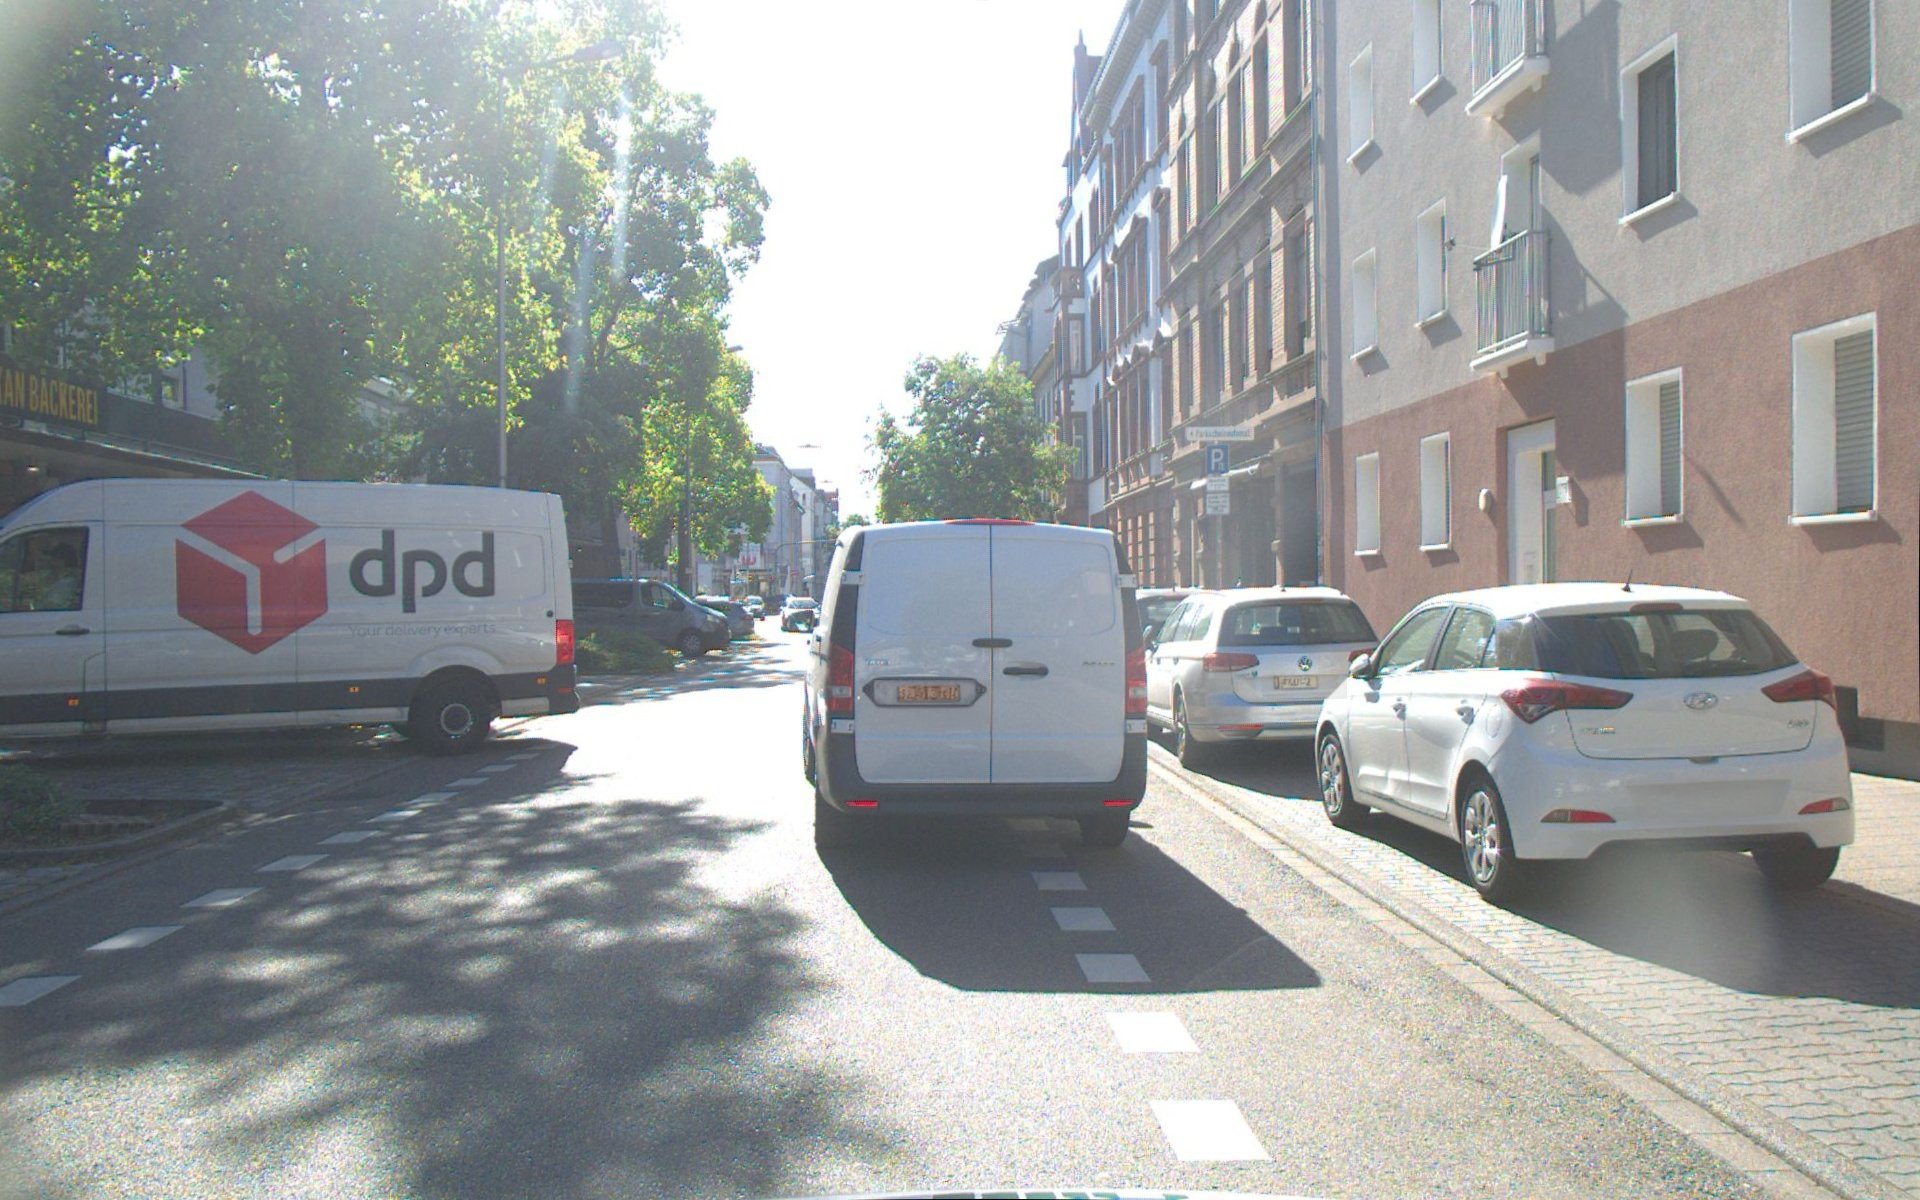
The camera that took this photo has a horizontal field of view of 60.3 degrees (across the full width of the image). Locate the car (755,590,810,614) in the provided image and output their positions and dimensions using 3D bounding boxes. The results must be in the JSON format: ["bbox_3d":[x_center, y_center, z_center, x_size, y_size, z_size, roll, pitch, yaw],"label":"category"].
[{"bbox_3d":[-12.898,0.136,120.423,3.910,1.668,1.997,0,0,-7],"label":"car"}]

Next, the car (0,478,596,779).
[{"bbox_3d":[-6.928,0.209,15.678,6.513,2.517,1.980,-1,0,-30],"label":"car"}]

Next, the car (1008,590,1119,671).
[{"bbox_3d":[1.989,0.557,32.891,1.704,1.477,3.997,-1,0,-4],"label":"car"}]

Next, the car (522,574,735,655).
[{"bbox_3d":[-8.584,0.369,43.198,5.187,2.009,2.014,1,0,-4],"label":"car"}]

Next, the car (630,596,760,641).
[{"bbox_3d":[-9.133,0.627,57.282,4.217,1.486,1.762,1,0,-1],"label":"car"}]

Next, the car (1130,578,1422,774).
[{"bbox_3d":[2.728,0.592,15.321,1.749,1.485,4.516,-2,0,-1],"label":"car"}]

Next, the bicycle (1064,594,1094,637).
[{"bbox_3d":[3.484,0.470,48.507,0.526,1.168,2.123,-7,-1,-2],"label":"bicycle"}]

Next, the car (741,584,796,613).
[{"bbox_3d":[-14.244,-0.139,123.466,3.907,2.049,1.999,-1,0,-3],"label":"car"}]

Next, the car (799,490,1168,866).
[{"bbox_3d":[-0.101,0.393,11.105,1.884,1.947,4.881,0,0,-6],"label":"car"}]

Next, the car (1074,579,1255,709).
[{"bbox_3d":[2.535,0.509,21.268,1.675,1.506,3.708,-1,0,-3],"label":"car"}]

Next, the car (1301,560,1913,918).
[{"bbox_3d":[3.288,0.604,9.269,1.697,1.512,3.792,-2,0,-4],"label":"car"}]

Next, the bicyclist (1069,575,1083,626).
[{"bbox_3d":[3.405,0.012,48.569,0.353,1.503,0.530,0,0,0],"label":"bicyclist"}]
